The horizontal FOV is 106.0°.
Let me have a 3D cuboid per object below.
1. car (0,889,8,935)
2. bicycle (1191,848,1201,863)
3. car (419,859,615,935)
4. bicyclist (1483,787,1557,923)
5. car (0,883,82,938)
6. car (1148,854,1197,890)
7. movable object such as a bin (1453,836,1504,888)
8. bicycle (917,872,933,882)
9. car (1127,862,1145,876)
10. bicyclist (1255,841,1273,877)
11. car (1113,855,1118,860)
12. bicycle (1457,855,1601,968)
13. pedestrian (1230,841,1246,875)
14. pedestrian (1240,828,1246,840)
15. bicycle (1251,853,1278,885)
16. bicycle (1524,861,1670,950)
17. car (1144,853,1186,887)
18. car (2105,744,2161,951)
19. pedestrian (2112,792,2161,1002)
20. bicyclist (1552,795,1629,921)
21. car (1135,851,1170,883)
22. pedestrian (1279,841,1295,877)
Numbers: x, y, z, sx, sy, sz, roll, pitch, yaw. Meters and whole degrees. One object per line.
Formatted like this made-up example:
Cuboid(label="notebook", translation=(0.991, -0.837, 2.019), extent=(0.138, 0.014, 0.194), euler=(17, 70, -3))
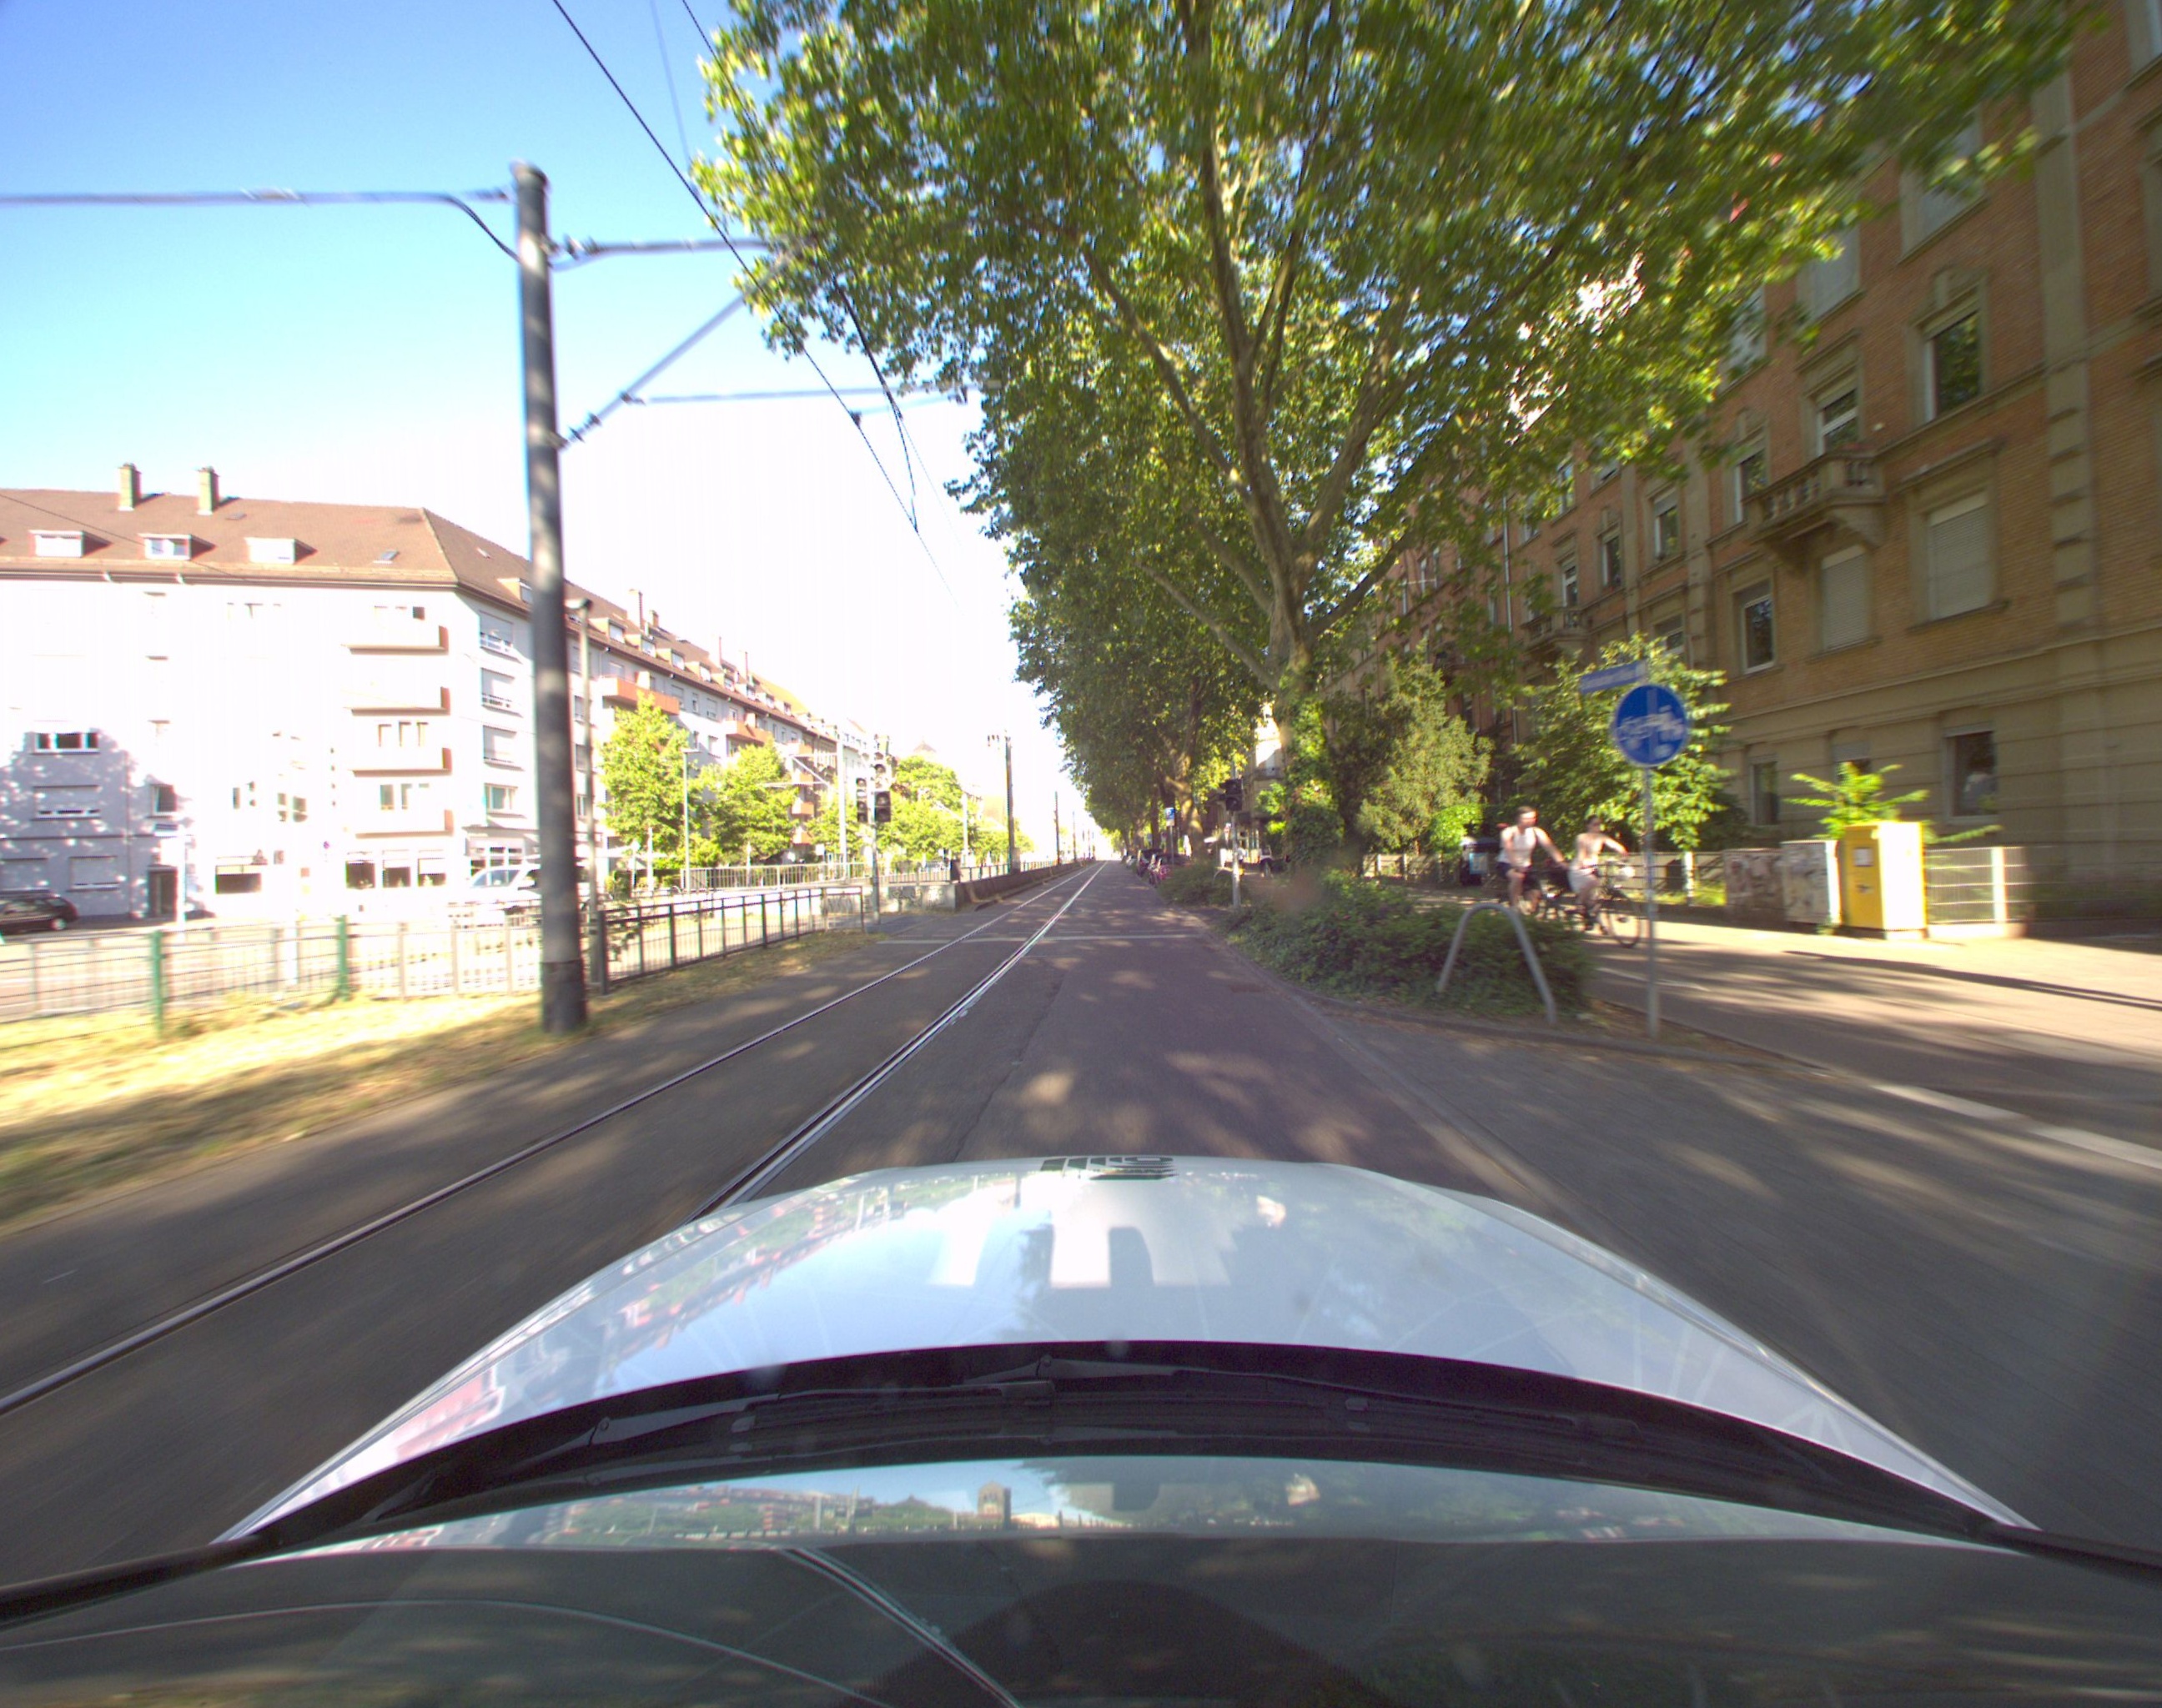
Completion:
Cuboid(label="car", translation=(-44.359, 2.308, 30.999), extent=(1.994, 1.860, 3.986), euler=(1, -1, -10))
Cuboid(label="bicycle", translation=(9.174, 0.112, 65.112), extent=(0.558, 1.178, 2.022), euler=(-1, -2, 1))
Cuboid(label="car", translation=(-17.163, 1.248, 25.174), extent=(1.982, 2.014, 5.024), euler=(-4, -2, 8))
Cuboid(label="bicyclist", translation=(5.461, 0.009, 10.152), extent=(0.541, 1.625, 0.644), euler=(-2, 1, 0))
Cuboid(label="car", translation=(-41.868, 2.171, 31.523), extent=(1.819, 2.014, 3.968), euler=(1, -1, -10))
Cuboid(label="car", translation=(3.935, 0.799, 35.434), extent=(1.708, 1.462, 4.000), euler=(-1, -2, 1))
Cuboid(label="movable object such as a bin", translation=(11.773, 0.237, 24.173), extent=(0.904, 1.464, 1.084), euler=(-4, -1, 0))
Cuboid(label="bicycle", translation=(-18.479, 2.749, 96.445), extent=(1.800, 1.178, 0.563), euler=(1, -1, 4))
Cuboid(label="car", translation=(6.058, 1.646, 89.818), extent=(1.796, 1.477, 4.648), euler=(-2, -1, 2))
Cuboid(label="bicyclist", translation=(7.326, 0.190, 32.622), extent=(0.541, 1.380, 0.644), euler=(-2, 0, 0))
Cuboid(label="car", translation=(10.860, 1.125, 257.427), extent=(1.739, 1.462, 3.645), euler=(1, 0, 1))
Cuboid(label="bicycle", translation=(5.482, 0.644, 10.138), extent=(0.559, 1.178, 2.226), euler=(-2, 1, 1))
Cuboid(label="pedestrian", translation=(8.358, 0.203, 43.420), extent=(0.686, 1.785, 0.644), euler=(-2, 0, 0))
Cuboid(label="pedestrian", translation=(16.761, -2.081, 84.231), extent=(0.554, 1.138, 0.526), euler=(-2, -1, 1))
Cuboid(label="bicycle", translation=(7.341, 0.576, 32.587), extent=(0.558, 1.178, 2.226), euler=(-2, 1, 1))
Cuboid(label="bicycle", translation=(6.881, 0.643, 10.990), extent=(0.560, 1.037, 1.930), euler=(-4, 0, -5))
Cuboid(label="car", translation=(4.184, 0.829, 41.275), extent=(1.708, 1.549, 4.502), euler=(-3, -2, 2))
Cuboid(label="car", translation=(12.527, -0.121, 7.413), extent=(3.975, 2.013, 2.000), euler=(-2, 2, -1))
Cuboid(label="pedestrian", translation=(8.217, 0.311, 5.968), extent=(0.537, 1.549, 0.607), euler=(-2, 1, 1))
Cuboid(label="bicyclist", translation=(6.862, 0.055, 10.989), extent=(0.542, 1.625, 0.643), euler=(-3, 0, -5))
Cuboid(label="car", translation=(4.991, 0.884, 57.507), extent=(1.987, 2.013, 5.202), euler=(-3, 0, 1))
Cuboid(label="pedestrian", translation=(9.401, 0.222, 37.193), extent=(0.528, 1.628, 0.618), euler=(-4, 0, 2))
